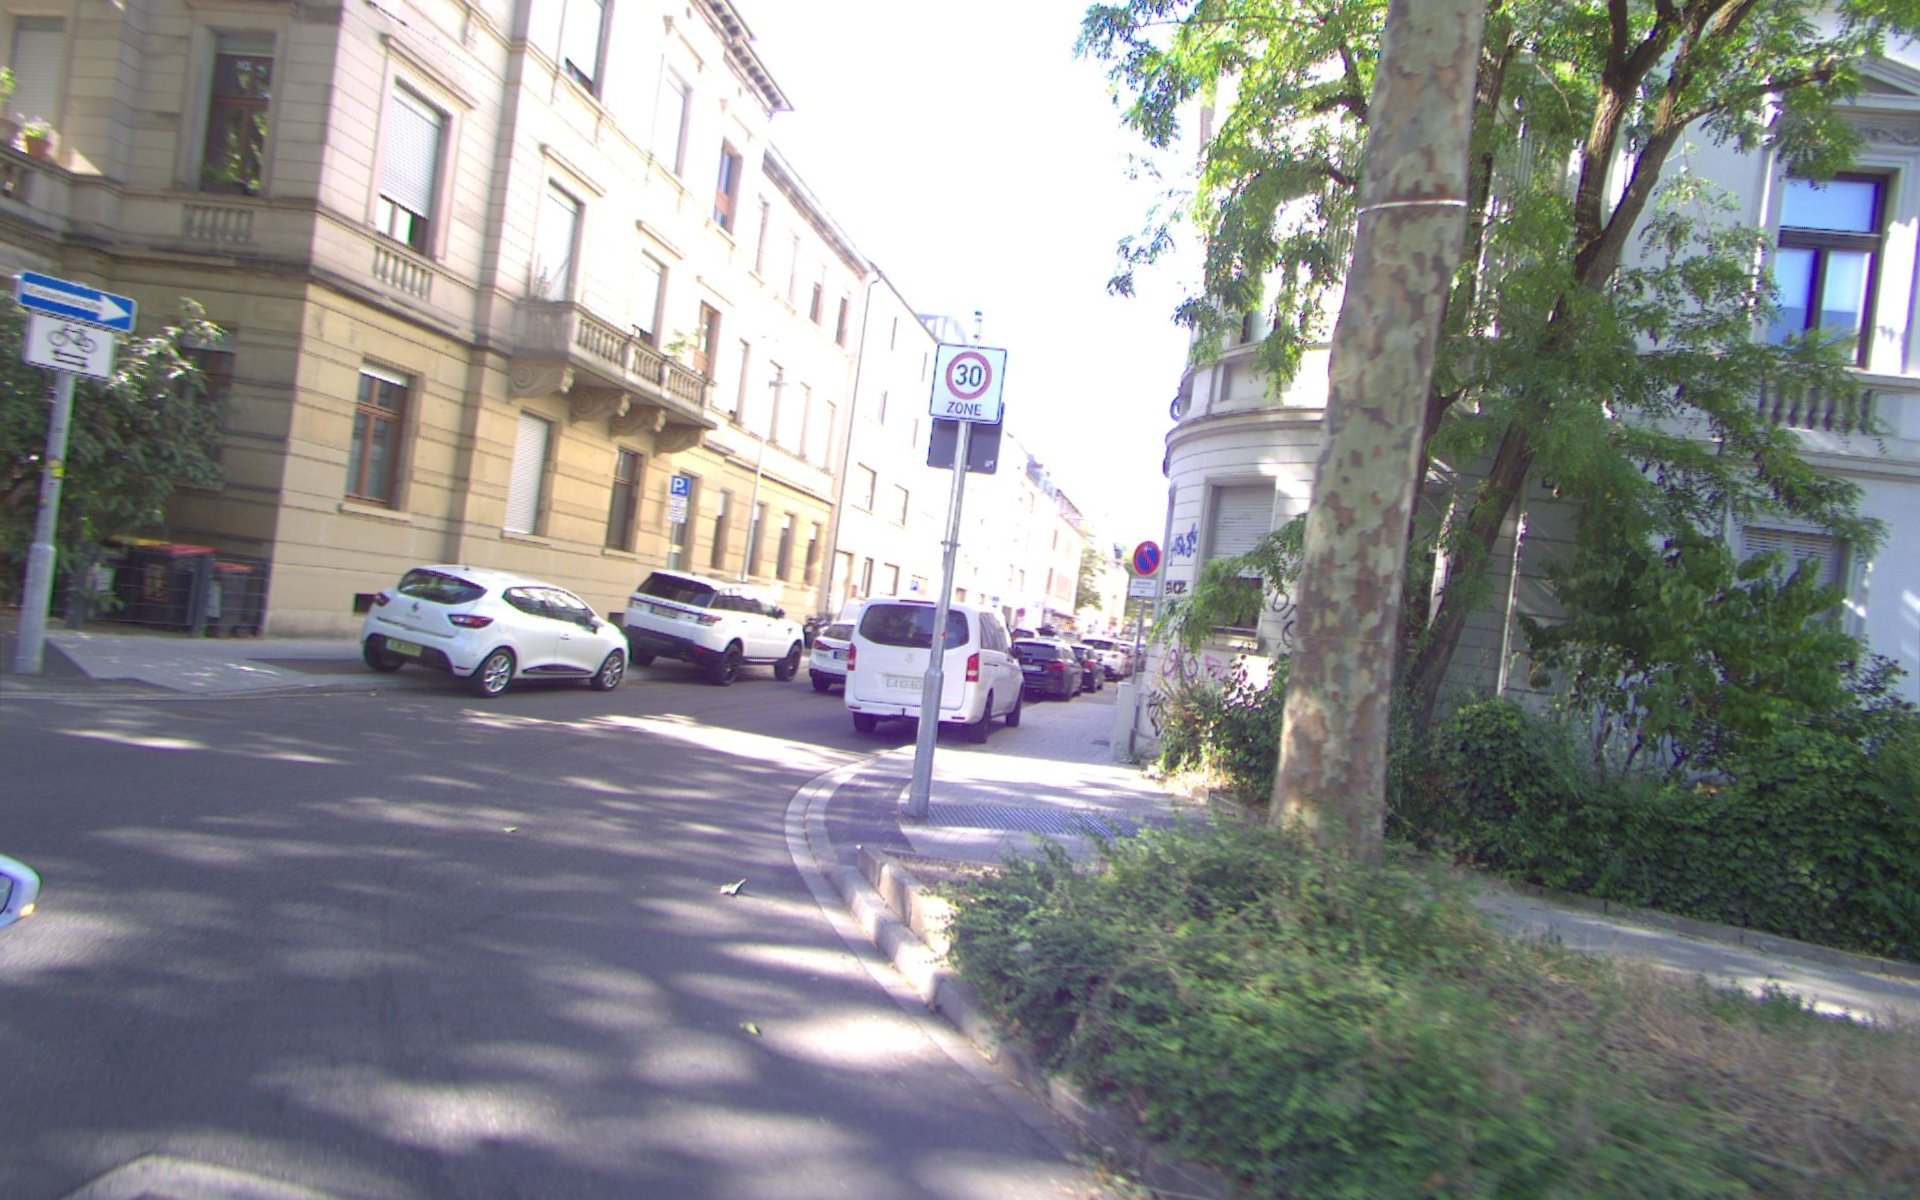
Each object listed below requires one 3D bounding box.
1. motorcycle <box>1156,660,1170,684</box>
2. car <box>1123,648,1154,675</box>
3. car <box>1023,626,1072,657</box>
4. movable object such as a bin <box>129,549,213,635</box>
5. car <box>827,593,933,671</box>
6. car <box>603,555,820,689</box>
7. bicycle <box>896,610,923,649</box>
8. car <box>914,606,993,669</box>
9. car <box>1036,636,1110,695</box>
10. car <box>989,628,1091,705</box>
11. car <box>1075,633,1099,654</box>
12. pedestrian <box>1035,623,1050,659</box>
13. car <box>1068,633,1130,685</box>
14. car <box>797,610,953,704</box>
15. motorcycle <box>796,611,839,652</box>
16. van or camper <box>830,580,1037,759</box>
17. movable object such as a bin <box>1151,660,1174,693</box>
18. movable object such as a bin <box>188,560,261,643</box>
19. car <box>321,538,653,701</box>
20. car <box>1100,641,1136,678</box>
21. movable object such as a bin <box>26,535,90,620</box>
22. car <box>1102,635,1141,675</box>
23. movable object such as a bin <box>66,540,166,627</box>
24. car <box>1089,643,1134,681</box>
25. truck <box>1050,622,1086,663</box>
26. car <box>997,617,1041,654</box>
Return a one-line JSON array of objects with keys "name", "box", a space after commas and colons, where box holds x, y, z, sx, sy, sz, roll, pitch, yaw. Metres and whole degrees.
[{"name": "motorcycle", "box": [9.353, 3.311, 46.413, 0.473, 1.059, 1.693, 7, -1, 13]}, {"name": "car", "box": [12.307, 4.194, 69.262, 1.714, 1.587, 4.035, 7, -1, 13]}, {"name": "car", "box": [5.988, 2.868, 68.412, 2.403, 1.725, 5.247, 8, -1, 13]}, {"name": "movable object such as a bin", "box": [-9.895, -0.092, 12.630, 0.537, 0.982, 0.521, 7, 0, 12]}, {"name": "car", "box": [-2.301, 0.979, 30.163, 1.717, 1.898, 4.093, 11, 0, 13]}, {"name": "car", "box": [-4.560, 0.480, 19.314, 1.990, 2.037, 4.547, 7, -1, 13]}, {"name": "bicycle", "box": [-2.137, 1.275, 43.033, 0.548, 1.527, 1.802, 9, -1, 10]}, {"name": "car", "box": [-0.175, 1.466, 39.113, 1.864, 1.981, 4.785, 9, 0, 11]}, {"name": "car", "box": [3.624, 2.028, 31.755, 1.719, 1.466, 3.872, 9, 0, 13]}, {"name": "car", "box": [2.185, 1.664, 26.100, 1.786, 1.537, 4.731, 9, 0, 13]}, {"name": "car", "box": [11.744, 4.017, 92.798, 1.714, 1.587, 4.035, 7, -1, 13]}, {"name": "pedestrian", "box": [5.455, 2.701, 66.410, 0.609, 2.254, 0.689, 7, -1, 13]}, {"name": "car", "box": [5.938, 2.445, 42.368, 1.973, 1.805, 4.942, 7, -1, 13]}, {"name": "car", "box": [-1.575, 1.124, 20.238, 1.805, 1.503, 4.060, 6, -1, 14]}, {"name": "motorcycle", "box": [-4.552, 1.038, 32.308, 0.420, 1.214, 2.144, 7, -1, 15]}, {"name": "van or camper", "box": [-0.169, 0.980, 15.330, 1.864, 2.038, 5.035, 7, -1, 11]}, {"name": "movable object such as a bin", "box": [7.586, 2.867, 37.654, 0.642, 1.158, 0.462, 7, -2, 20]}, {"name": "movable object such as a bin", "box": [-9.269, 0.030, 12.686, 0.391, 0.982, 0.521, 7, 0, 12]}, {"name": "car", "box": [-6.040, 0.333, 13.461, 1.837, 1.579, 3.947, 9, -1, 11]}, {"name": "car", "box": [8.412, 3.143, 53.365, 1.555, 1.651, 3.685, 9, -1, 11]}, {"name": "movable object such as a bin", "box": [-11.091, -0.272, 12.374, 0.375, 0.982, 0.345, 7, 0, 12]}, {"name": "car", "box": [9.258, 3.138, 57.378, 1.754, 1.984, 4.341, 7, -2, 12]}, {"name": "movable object such as a bin", "box": [-10.510, -0.194, 12.538, 0.537, 0.982, 0.690, 7, 0, 12]}, {"name": "car", "box": [7.497, 3.004, 49.508, 1.714, 1.587, 4.035, 7, -1, 13]}, {"name": "truck", "box": [8.075, 3.222, 74.687, 2.122, 2.619, 6.259, 7, -3, 9]}, {"name": "car", "box": [3.553, 2.131, 59.837, 1.850, 1.776, 4.546, 11, 0, 10]}]
